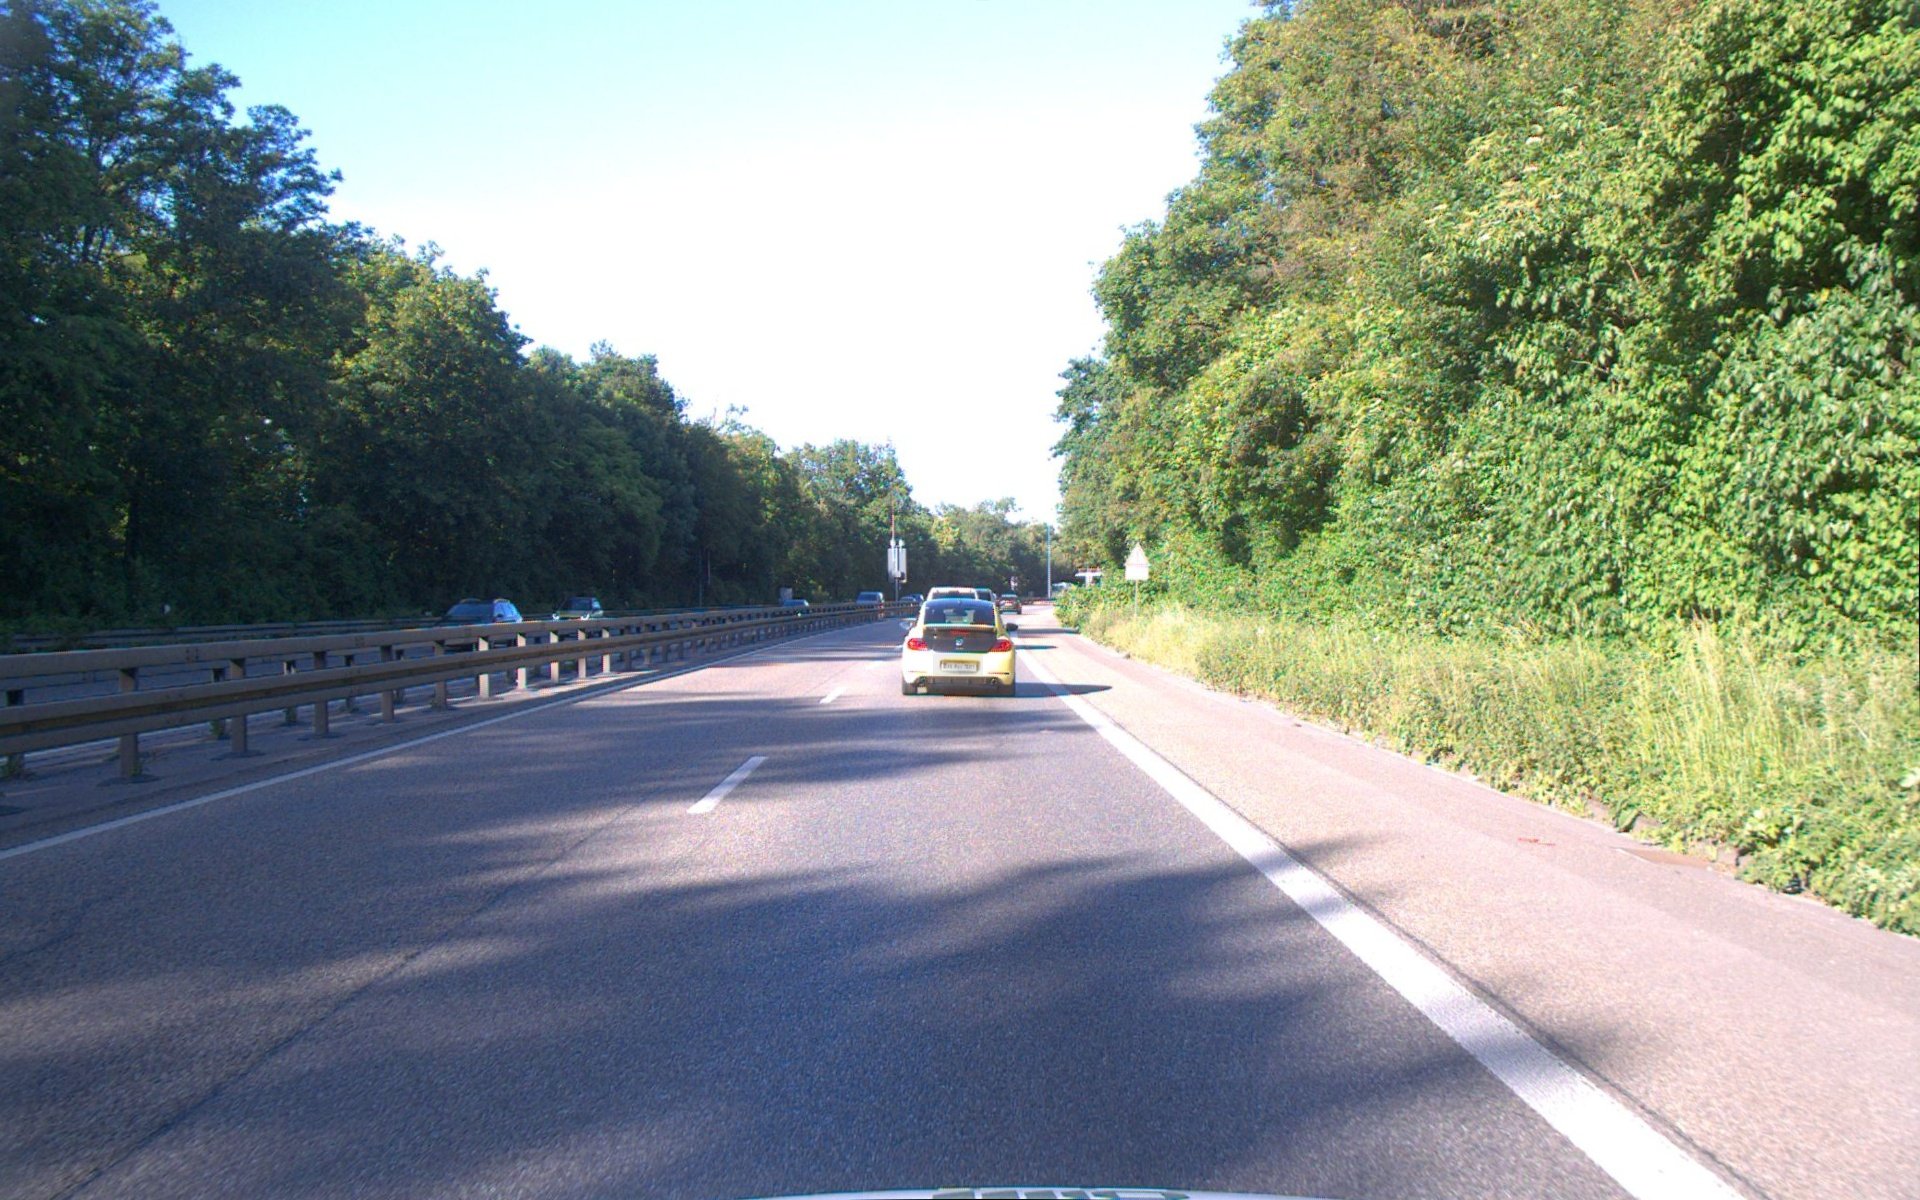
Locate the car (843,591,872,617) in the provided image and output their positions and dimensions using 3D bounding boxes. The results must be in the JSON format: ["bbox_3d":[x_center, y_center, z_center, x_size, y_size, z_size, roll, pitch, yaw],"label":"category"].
[{"bbox_3d":[-8.198,0.313,132.600,1.849,1.936,5.416,-2,0,1],"label":"car"}]

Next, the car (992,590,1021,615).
[{"bbox_3d":[3.684,0.149,131.227,2.216,1.908,5.077,1,0,2],"label":"car"}]

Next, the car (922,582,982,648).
[{"bbox_3d":[-0.212,0.412,49.047,1.706,1.862,3.422,1,0,0],"label":"car"}]

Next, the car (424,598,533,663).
[{"bbox_3d":[-14.422,0.876,49.820,1.953,1.780,4.550,-2,0,-1],"label":"car"}]

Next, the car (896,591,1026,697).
[{"bbox_3d":[0.026,0.647,26.286,1.899,1.534,3.422,1,0,0],"label":"car"}]

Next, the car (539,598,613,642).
[{"bbox_3d":[-15.118,0.769,65.314,1.953,1.612,3.999,-2,0,-1],"label":"car"}]

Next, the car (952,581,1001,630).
[{"bbox_3d":[0.690,0.227,73.151,1.953,2.049,3.999,-2,0,-2],"label":"car"}]

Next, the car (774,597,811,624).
[{"bbox_3d":[-9.720,0.610,96.461,1.564,1.478,4.346,-2,0,1],"label":"car"}]
